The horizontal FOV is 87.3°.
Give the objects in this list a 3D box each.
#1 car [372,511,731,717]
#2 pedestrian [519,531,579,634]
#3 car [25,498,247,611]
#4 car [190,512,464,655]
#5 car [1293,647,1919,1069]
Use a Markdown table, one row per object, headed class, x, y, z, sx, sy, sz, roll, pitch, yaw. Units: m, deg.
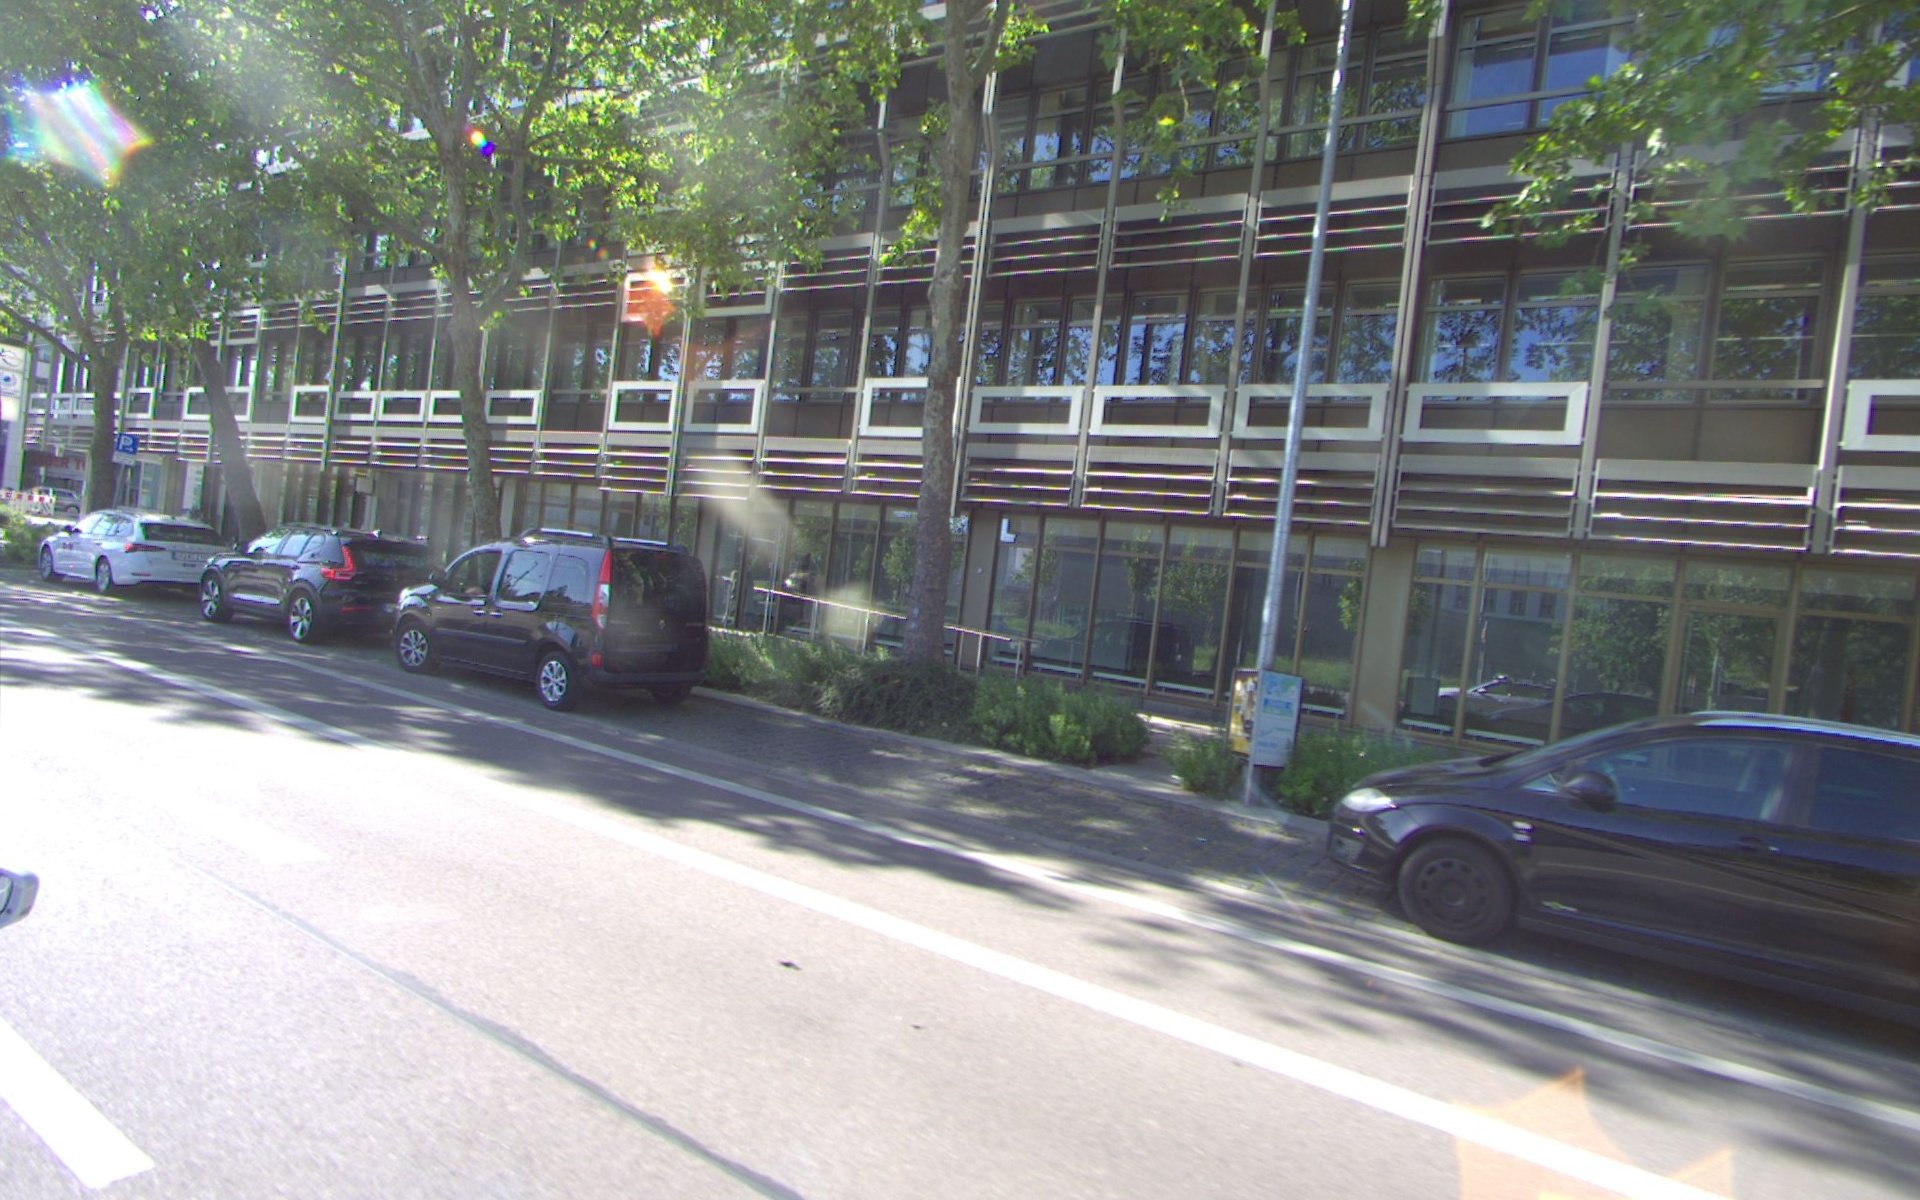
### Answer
| class | x | y | z | sx | sy | sz | roll | pitch | yaw |
| --- | --- | --- | --- | --- | --- | --- | --- | --- | --- |
| car | -4.870 | 0.081 | 11.816 | 4.123 | 1.813 | 1.705 | 7 | 2 | 32 |
| pedestrian | -8.149 | -0.342 | 19.948 | 0.548 | 1.938 | 0.678 | 6 | -2 | 32 |
| car | -15.175 | -0.862 | 18.460 | 4.524 | 1.511 | 1.706 | 7 | 0 | 32 |
| car | -9.409 | -0.271 | 14.871 | 4.123 | 1.582 | 1.706 | 7 | 0 | 32 |
| car | 4.604 | 1.414 | 5.966 | 4.561 | 1.664 | 1.704 | 7 | 2 | 34 |
